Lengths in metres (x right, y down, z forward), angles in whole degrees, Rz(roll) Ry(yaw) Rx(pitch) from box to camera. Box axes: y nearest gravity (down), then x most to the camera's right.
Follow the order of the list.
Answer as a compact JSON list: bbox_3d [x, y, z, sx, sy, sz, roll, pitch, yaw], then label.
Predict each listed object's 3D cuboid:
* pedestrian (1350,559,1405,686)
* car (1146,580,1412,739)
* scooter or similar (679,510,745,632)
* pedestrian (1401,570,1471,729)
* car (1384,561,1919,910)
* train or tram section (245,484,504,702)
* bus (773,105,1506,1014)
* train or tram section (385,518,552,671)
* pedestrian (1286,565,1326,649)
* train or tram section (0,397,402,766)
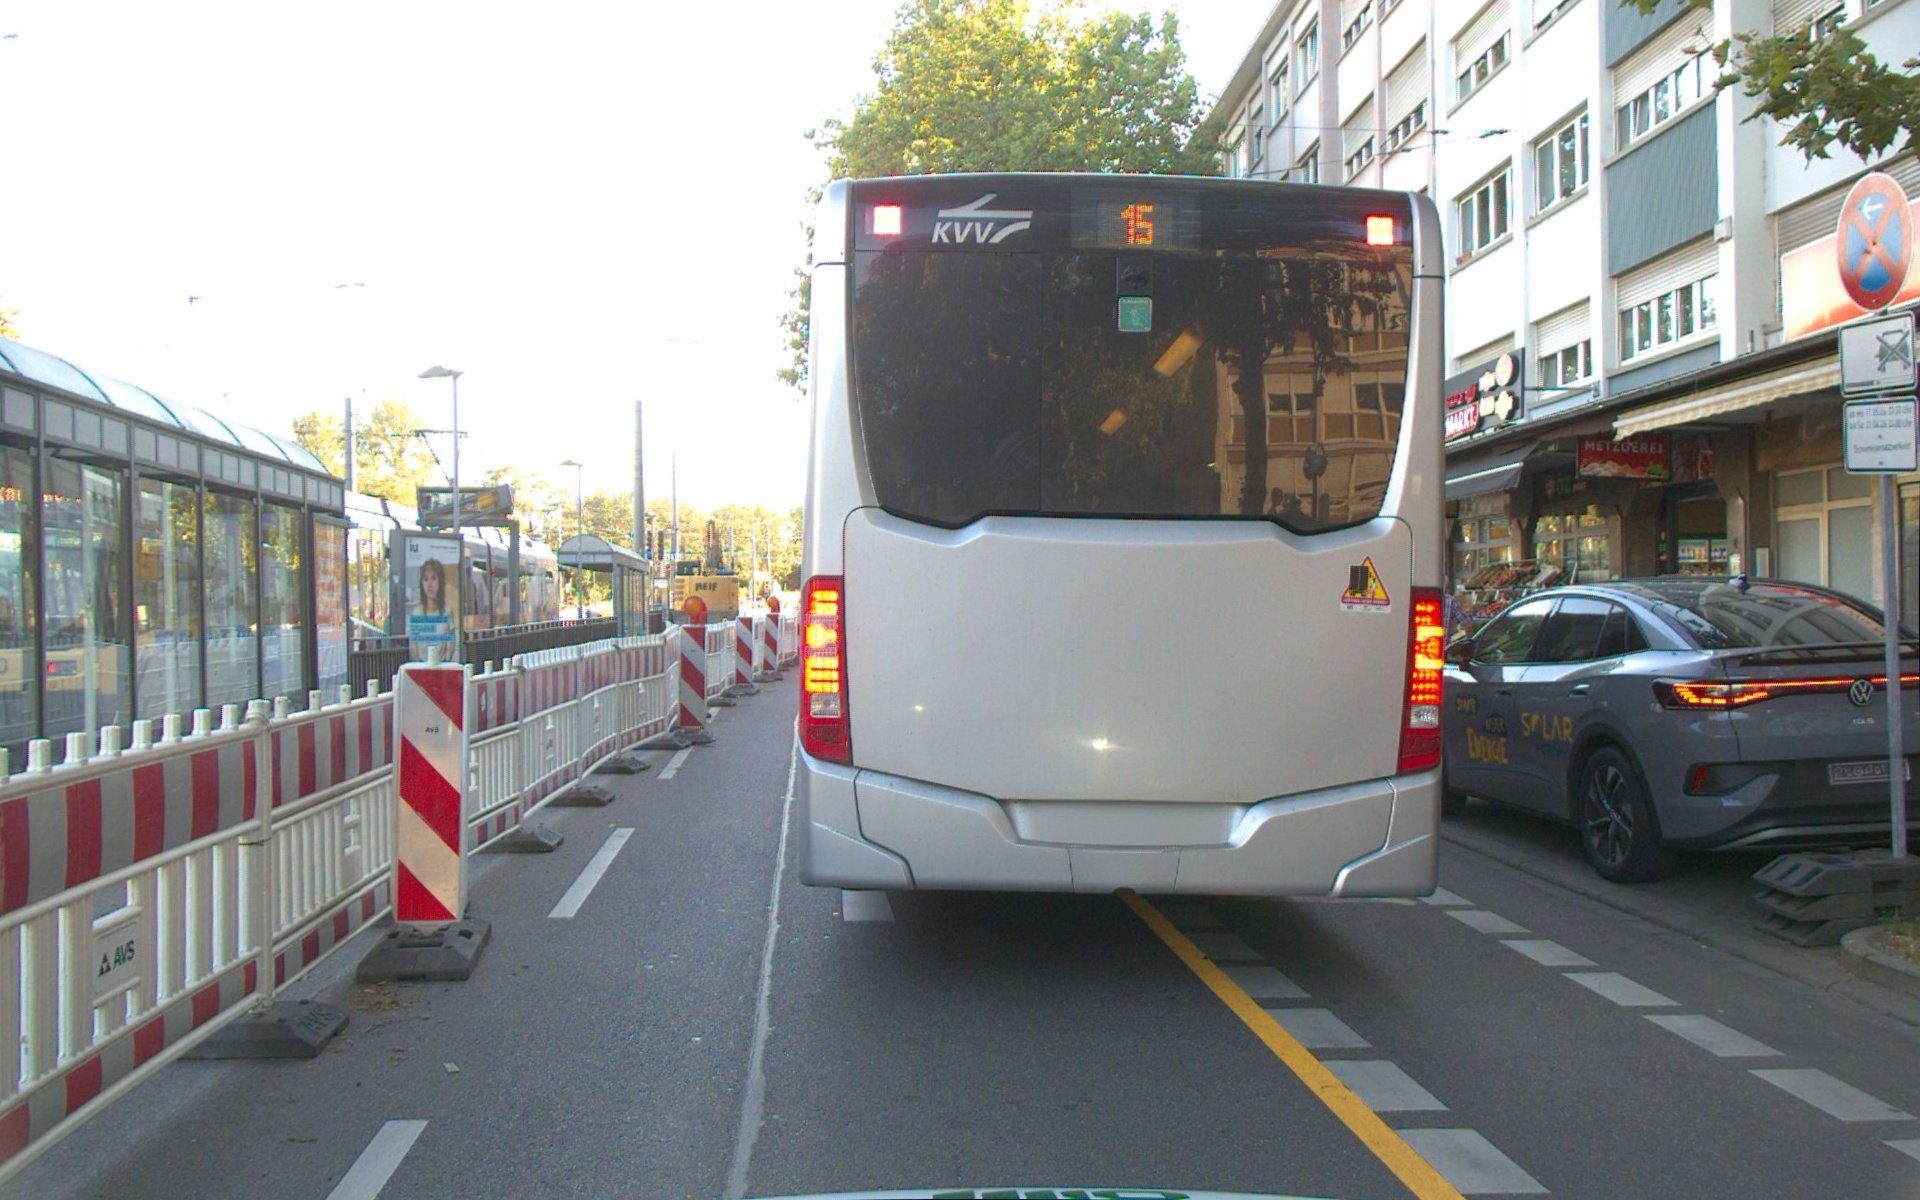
[{"bbox_3d":[6.895,0.367,27.338,0.672,2.049,0.786,-1,0,-1],"label":"pedestrian"},{"bbox_3d":[3.673,0.615,19.931,1.955,1.609,4.363,-3,1,-5],"label":"car"},{"bbox_3d":[-9.659,-1.082,64.625,2.422,4.549,5.962,0,0,-8],"label":"scooter or similar"},{"bbox_3d":[5.193,0.535,18.063,0.649,1.696,0.601,-2,-1,15],"label":"pedestrian"},{"bbox_3d":[4.354,0.624,10.208,1.955,1.609,4.363,-3,1,-5],"label":"car"},{"bbox_3d":[-11.421,-0.099,33.593,2.636,3.621,11.560,1,0,-8],"label":"train or tram section"},{"bbox_3d":[0.590,-0.132,9.885,2.558,3.181,7.991,1,0,-1],"label":"bus"},{"bbox_3d":[-13.064,-0.107,44.975,2.636,3.594,11.559,1,0,-8],"label":"train or tram section"},{"bbox_3d":[7.734,0.154,37.006,0.672,1.869,0.785,-1,0,-4],"label":"pedestrian"},{"bbox_3d":[-10.169,-0.172,21.956,2.635,3.595,11.755,1,0,-6],"label":"train or tram section"}]
